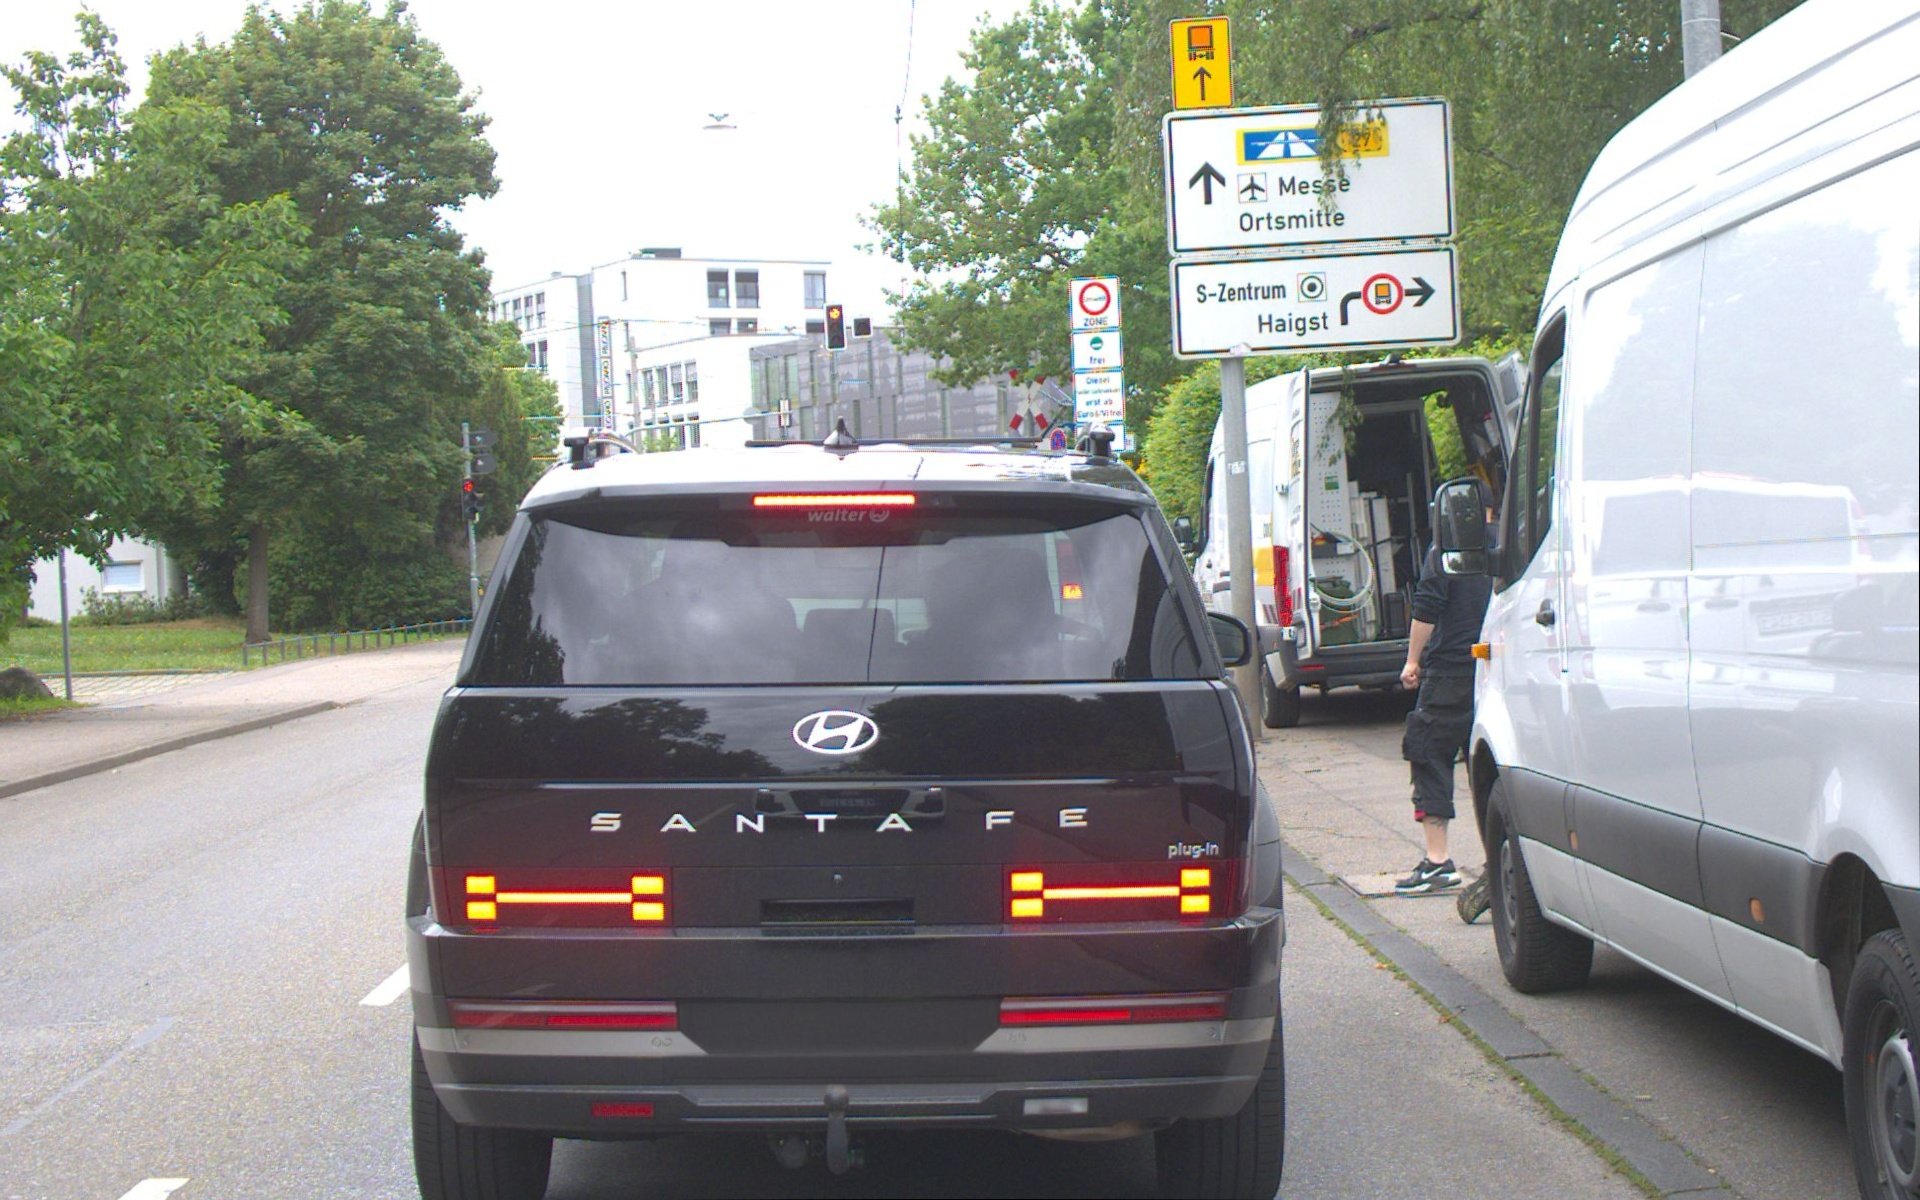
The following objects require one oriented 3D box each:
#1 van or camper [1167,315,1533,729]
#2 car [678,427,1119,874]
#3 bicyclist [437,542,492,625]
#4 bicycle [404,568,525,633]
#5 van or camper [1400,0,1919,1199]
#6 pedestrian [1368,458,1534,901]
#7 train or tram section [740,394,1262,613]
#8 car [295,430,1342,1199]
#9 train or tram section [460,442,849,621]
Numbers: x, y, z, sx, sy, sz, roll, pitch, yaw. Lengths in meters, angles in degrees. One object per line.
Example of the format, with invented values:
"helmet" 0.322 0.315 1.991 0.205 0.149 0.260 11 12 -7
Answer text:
"van or camper" 2.909 -0.594 26.884 1.963 2.787 5.287 -4 1 -1
"car" -0.325 0.194 17.545 1.963 1.994 4.000 -1 1 -1
"bicyclist" -10.061 -0.335 69.753 0.857 1.653 0.676 -1 -1 28
"bicycle" -10.056 0.015 69.747 2.496 1.275 0.676 -1 -1 28
"van or camper" 2.585 -0.066 8.059 1.963 2.619 6.359 -4 1 -1
"pedestrian" 1.968 0.318 13.847 0.603 1.737 0.619 -1 -1 5
"train or tram section" 0.443 -2.063 83.185 3.193 4.507 18.683 0 -1 -31
"car" -0.311 0.510 8.520 1.963 1.705 4.000 -1 1 -1
"train or tram section" -9.213 -1.757 99.069 3.193 4.507 18.683 0 -1 -31
